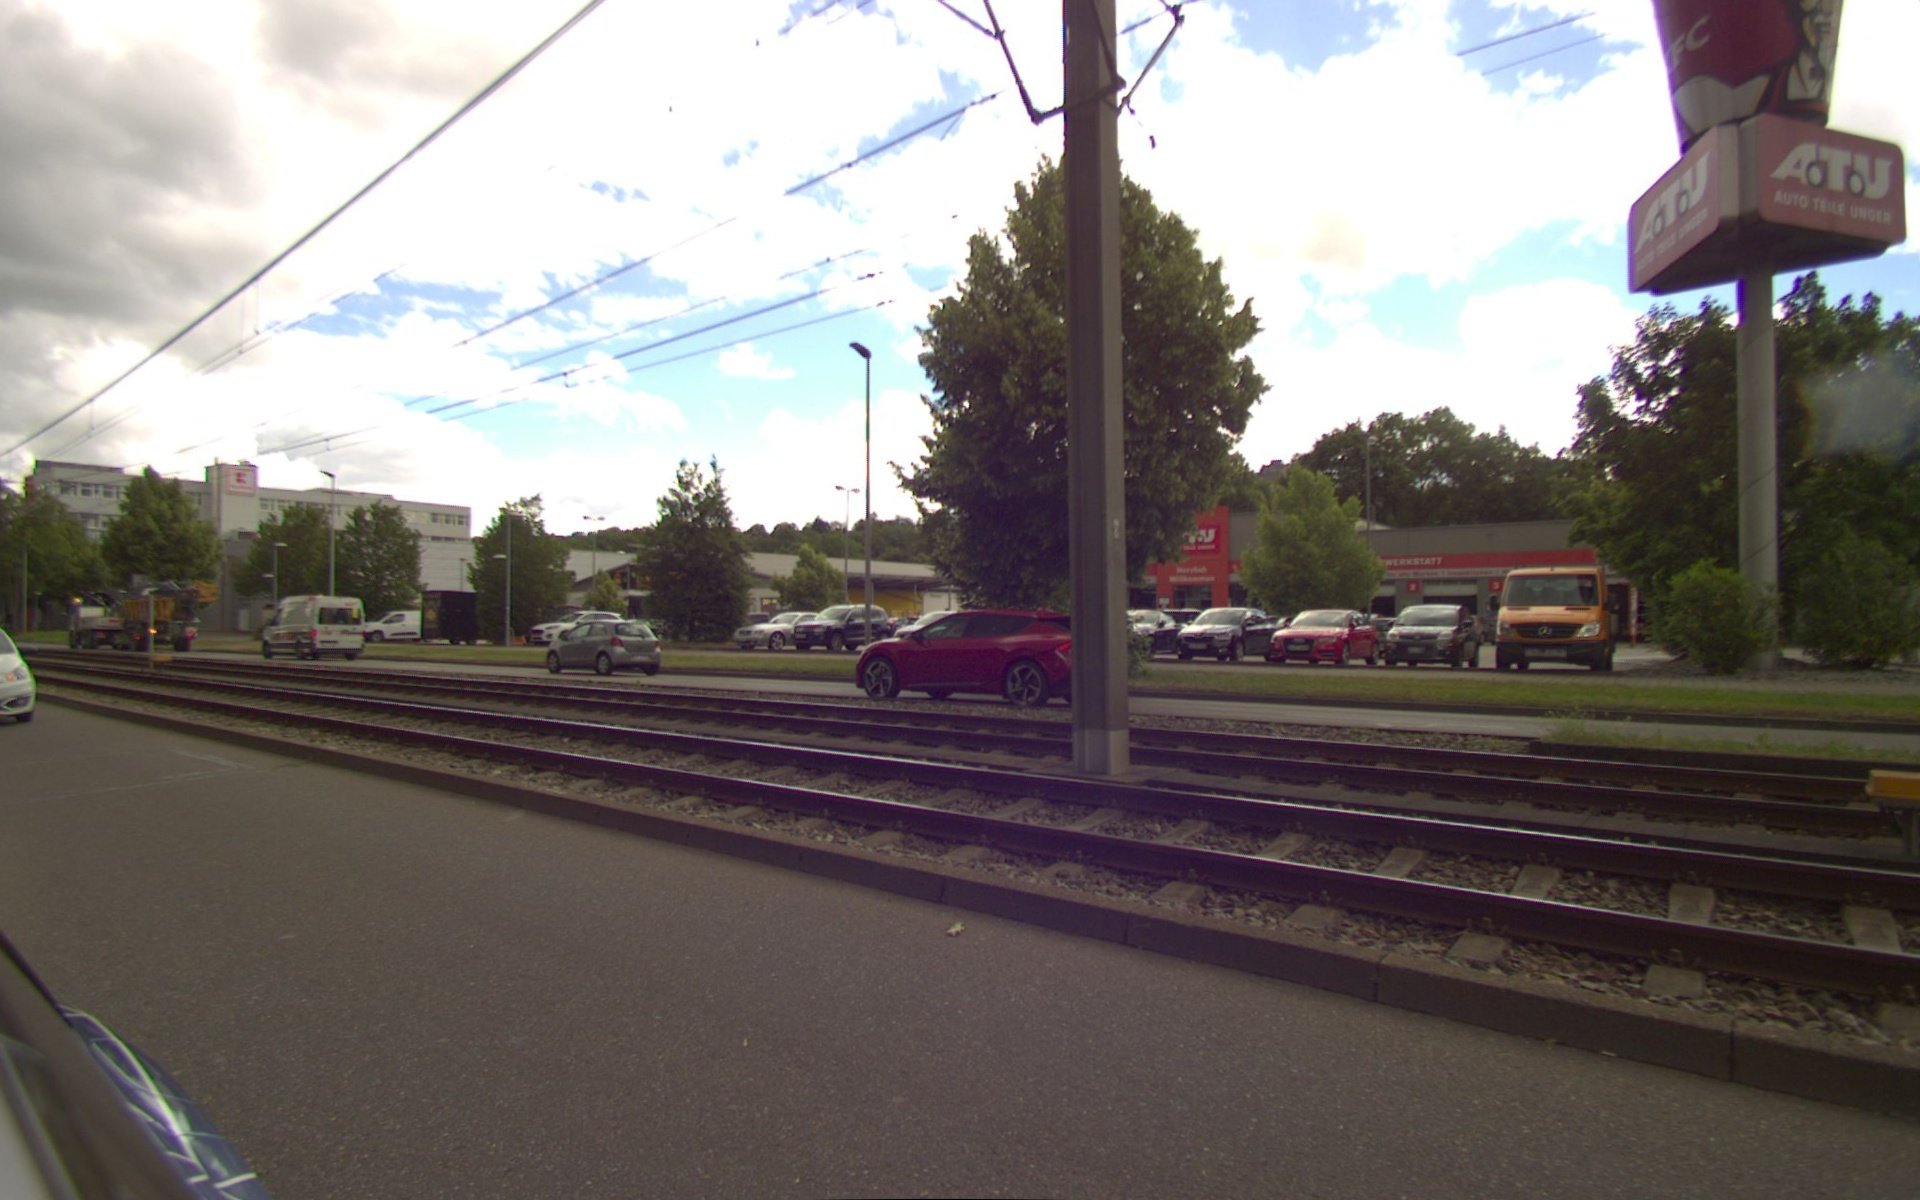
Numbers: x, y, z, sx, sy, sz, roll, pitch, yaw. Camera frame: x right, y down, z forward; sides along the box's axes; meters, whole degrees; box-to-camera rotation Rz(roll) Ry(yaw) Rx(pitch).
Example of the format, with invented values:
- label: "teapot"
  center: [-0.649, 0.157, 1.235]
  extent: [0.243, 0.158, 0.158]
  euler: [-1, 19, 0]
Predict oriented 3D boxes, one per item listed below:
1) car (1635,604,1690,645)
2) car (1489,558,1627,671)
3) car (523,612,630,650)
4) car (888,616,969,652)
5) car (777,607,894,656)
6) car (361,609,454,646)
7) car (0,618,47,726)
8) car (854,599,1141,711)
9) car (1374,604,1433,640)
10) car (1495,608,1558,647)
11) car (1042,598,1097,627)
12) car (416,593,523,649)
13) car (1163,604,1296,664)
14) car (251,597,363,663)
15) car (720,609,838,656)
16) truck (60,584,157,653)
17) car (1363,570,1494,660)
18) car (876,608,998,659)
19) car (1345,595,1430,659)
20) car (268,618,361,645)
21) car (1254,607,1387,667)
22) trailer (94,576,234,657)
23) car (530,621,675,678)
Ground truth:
- label: "car"
  center: [31.320, 1.065, 45.105]
  extent: [1.917, 1.634, 3.695]
  euler: [-1, 1, 36]
- label: "car"
  center: [12.926, 0.247, 21.760]
  extent: [2.056, 2.182, 3.949]
  euler: [-1, 1, 38]
- label: "car"
  center: [-17.822, 1.404, 47.205]
  extent: [1.791, 1.518, 4.431]
  euler: [-1, 1, 35]
- label: "car"
  center: [-1.431, 1.565, 47.730]
  extent: [1.948, 1.501, 3.695]
  euler: [-1, 1, 36]
- label: "car"
  center: [-4.407, 1.100, 36.355]
  extent: [1.935, 1.518, 3.949]
  euler: [-1, 1, 38]
- label: "car"
  center: [-32.179, 1.570, 59.009]
  extent: [1.999, 1.933, 4.300]
  euler: [-1, 1, 41]
- label: "car"
  center: [-15.070, 1.050, 14.809]
  extent: [3.993, 1.455, 1.766]
  euler: [-1, 1, 37]
- label: "car"
  center: [0.523, 0.859, 16.481]
  extent: [4.474, 1.594, 1.766]
  euler: [-1, -3, 37]
- label: "car"
  center: [22.316, 1.101, 50.861]
  extent: [1.917, 1.634, 3.695]
  euler: [-1, 1, 36]
- label: "car"
  center: [26.535, 1.237, 47.357]
  extent: [1.997, 1.605, 3.949]
  euler: [-1, 1, 38]
- label: "car"
  center: [6.776, 0.736, 62.327]
  extent: [1.720, 1.634, 3.695]
  euler: [-1, 1, 36]
- label: "car"
  center: [-25.372, 1.132, 52.484]
  extent: [2.286, 2.769, 4.427]
  euler: [-1, -3, 38]
- label: "car"
  center: [7.325, 0.861, 27.280]
  extent: [2.091, 1.377, 3.949]
  euler: [-1, 1, 38]
- label: "car"
  center: [-26.570, 1.236, 41.072]
  extent: [5.990, 2.518, 1.851]
  euler: [-1, -3, 38]
- label: "car"
  center: [-6.670, 1.156, 37.583]
  extent: [1.999, 1.518, 3.949]
  euler: [-1, 1, 38]
- label: "truck"
  center: [-52.315, 1.192, 62.103]
  extent: [8.620, 3.997, 2.864]
  euler: [-2, -3, 39]
- label: "car"
  center: [11.232, 0.293, 24.128]
  extent: [1.997, 1.932, 3.949]
  euler: [-1, 1, 38]
- label: "car"
  center: [-0.683, 1.059, 33.209]
  extent: [1.935, 1.431, 3.949]
  euler: [-1, 1, 38]
- label: "car"
  center: [15.132, 0.910, 35.729]
  extent: [1.948, 2.029, 3.695]
  euler: [-1, 1, 36]
- label: "car"
  center: [-40.796, 1.961, 64.015]
  extent: [1.999, 1.504, 4.553]
  euler: [-1, 1, 41]
- label: "car"
  center: [9.100, 0.879, 25.384]
  extent: [1.997, 1.245, 3.949]
  euler: [-1, 1, 38]
- label: "trailer"
  center: [-43.382, 0.973, 54.859]
  extent: [14.408, 3.927, 2.645]
  euler: [-1, -4, 39]
- label: "car"
  center: [-10.121, 1.391, 28.548]
  extent: [3.994, 1.494, 1.975]
  euler: [-1, -4, 38]
